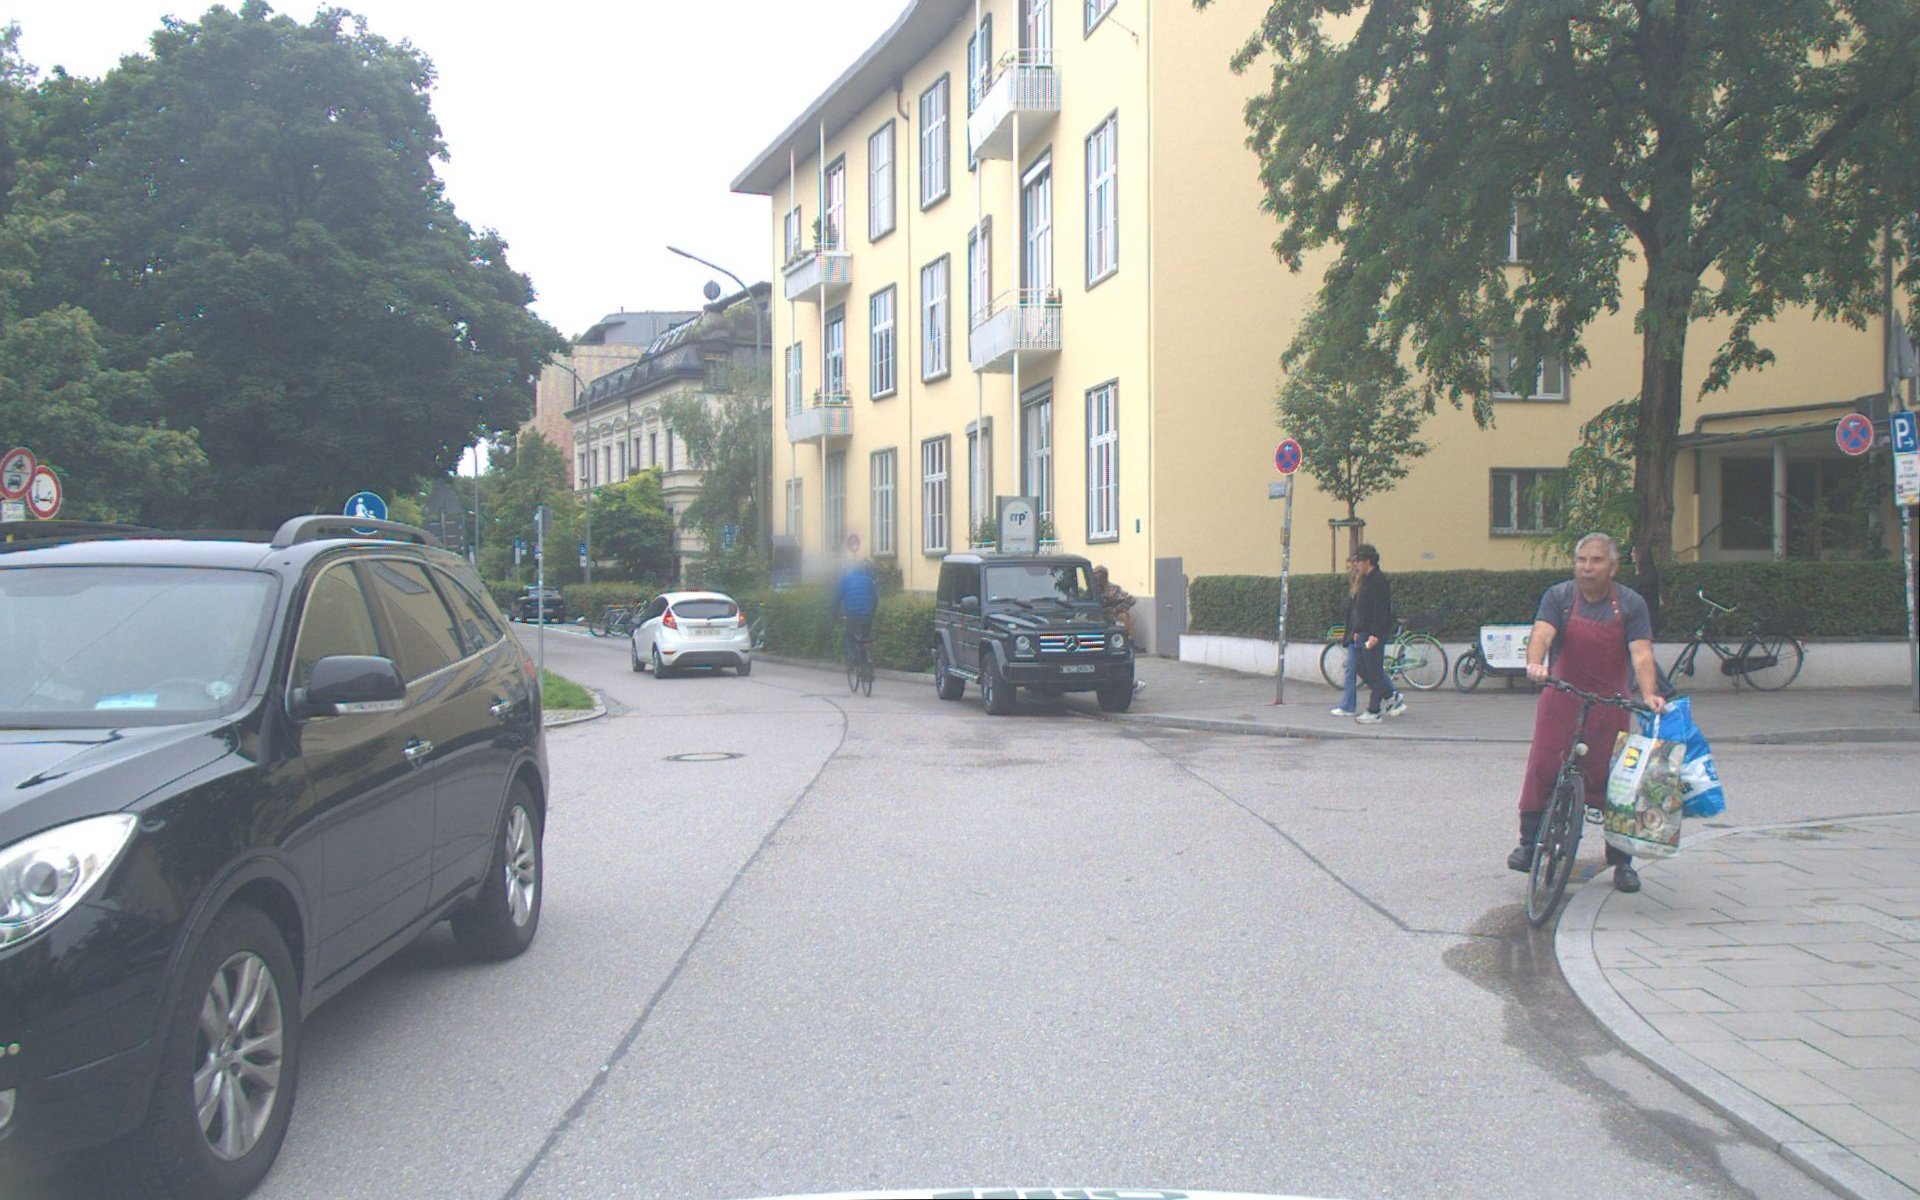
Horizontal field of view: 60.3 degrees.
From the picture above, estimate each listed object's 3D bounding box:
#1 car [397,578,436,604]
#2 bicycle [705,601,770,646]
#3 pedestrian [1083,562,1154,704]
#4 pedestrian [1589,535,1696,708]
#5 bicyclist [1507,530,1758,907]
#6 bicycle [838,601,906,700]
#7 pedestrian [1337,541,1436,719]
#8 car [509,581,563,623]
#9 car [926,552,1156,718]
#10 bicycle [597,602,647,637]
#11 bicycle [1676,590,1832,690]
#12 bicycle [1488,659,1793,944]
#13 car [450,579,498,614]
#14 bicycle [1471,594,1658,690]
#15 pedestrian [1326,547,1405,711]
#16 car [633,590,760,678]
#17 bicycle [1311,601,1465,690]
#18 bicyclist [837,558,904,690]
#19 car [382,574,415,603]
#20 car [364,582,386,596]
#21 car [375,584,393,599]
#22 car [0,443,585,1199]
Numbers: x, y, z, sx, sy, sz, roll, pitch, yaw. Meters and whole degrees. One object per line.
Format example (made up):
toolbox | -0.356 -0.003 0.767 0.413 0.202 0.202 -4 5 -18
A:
car | -35.533 -0.601 108.160 1.968 1.628 4.221 -1 1 -24
bicycle | -5.416 0.567 40.354 1.514 1.032 0.364 -2 1 -26
pedestrian | 2.051 0.407 21.484 0.831 1.788 0.954 -1 1 2
pedestrian | 7.749 0.237 18.807 0.833 1.890 0.766 -2 0 0
bicyclist | 3.111 0.513 7.759 0.856 1.637 1.050 -1 1 9
bicycle | -1.264 0.683 23.341 0.903 1.274 2.319 -1 1 -4
pedestrian | 4.522 0.313 17.581 0.968 1.841 0.660 -1 0 13
car | -16.854 0.059 65.672 1.624 1.585 3.536 -1 1 -22
car | 0.920 0.372 21.764 1.841 1.920 4.603 -1 1 -13
bicycle | -10.680 0.600 52.316 1.524 1.032 0.403 -3 1 -41
bicycle | 9.529 0.473 19.861 1.648 1.150 0.460 -1 1 -1
bicycle | 3.120 0.858 7.836 0.857 1.037 2.193 -1 1 9
car | -24.649 -0.182 83.772 1.770 1.709 3.969 -1 1 -25
bicycle | 7.403 0.507 20.357 2.122 1.135 0.641 -1 1 17
pedestrian | 4.515 0.309 18.404 0.809 1.776 0.741 -1 1 16
car | -4.790 0.556 29.719 1.720 1.431 3.708 -1 1 -18
bicycle | 5.570 0.604 21.617 1.916 1.103 0.525 -3 -1 44
bicyclist | -1.269 0.320 23.399 0.896 1.795 1.214 -1 1 -4
car | -39.600 -0.814 116.660 2.036 2.000 4.947 -1 1 -21
car | -67.782 -1.309 191.646 1.961 1.628 4.449 -1 1 -15
car | -68.788 -1.035 197.430 1.773 1.687 4.230 -1 0 -17
car | -2.677 0.569 5.298 1.953 1.749 4.614 -1 1 -1
